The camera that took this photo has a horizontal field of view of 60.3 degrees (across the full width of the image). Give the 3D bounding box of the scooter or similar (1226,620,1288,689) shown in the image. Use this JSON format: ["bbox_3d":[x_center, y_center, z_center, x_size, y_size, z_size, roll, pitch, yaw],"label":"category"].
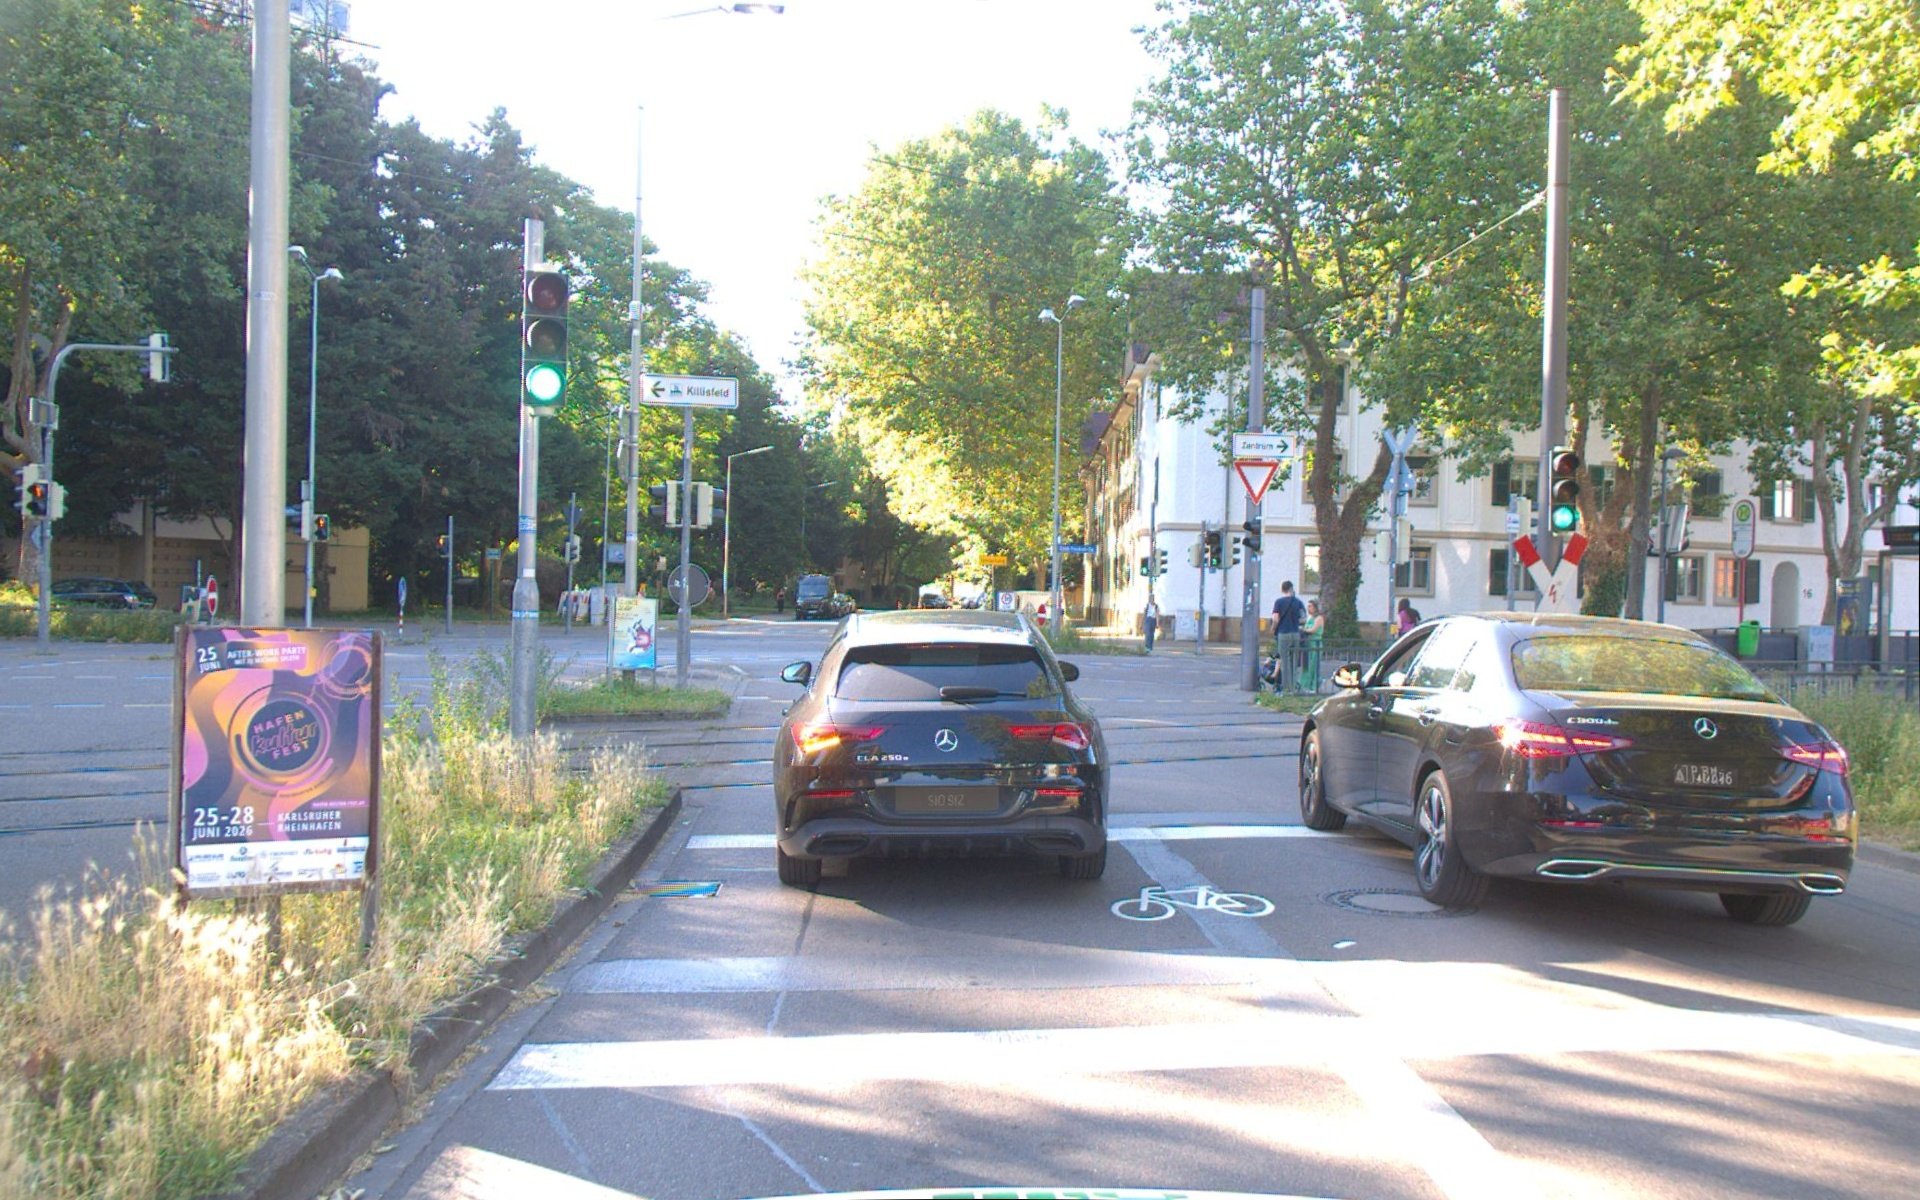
[{"bbox_3d":[5.022,0.910,28.012,0.812,1.124,0.808,2,-1,-6],"label":"scooter or similar"}]

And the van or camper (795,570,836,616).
[{"bbox_3d":[-8.448,-0.400,97.013,1.953,2.586,4.650,2,0,0],"label":"van or camper"}]

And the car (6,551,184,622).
[{"bbox_3d":[-24.170,-0.364,46.295,3.902,1.805,2.001,2,-1,7],"label":"car"}]

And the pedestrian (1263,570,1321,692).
[{"bbox_3d":[5.458,0.506,27.212,0.692,1.951,0.683,2,-1,-9],"label":"pedestrian"}]

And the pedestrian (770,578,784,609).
[{"bbox_3d":[-11.556,-0.425,104.590,0.690,1.951,0.839,2,-1,5],"label":"pedestrian"}]

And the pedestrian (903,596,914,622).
[{"bbox_3d":[-3.958,0.708,127.339,0.692,1.951,0.837,2,-1,-11],"label":"pedestrian"}]

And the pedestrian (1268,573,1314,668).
[{"bbox_3d":[6.991,0.431,34.948,0.691,1.951,0.838,2,-1,-7],"label":"pedestrian"}]

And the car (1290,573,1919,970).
[{"bbox_3d":[3.228,0.686,9.114,1.851,1.516,4.381,2,2,-1],"label":"car"}]

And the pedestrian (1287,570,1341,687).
[{"bbox_3d":[6.014,0.480,28.148,0.669,1.951,0.706,2,-1,-5],"label":"pedestrian"}]

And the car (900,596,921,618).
[{"bbox_3d":[-4.279,0.632,142.482,1.698,1.796,4.018,2,0,-1],"label":"car"}]

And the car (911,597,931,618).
[{"bbox_3d":[-3.492,0.635,147.704,1.698,1.796,4.018,2,0,-1],"label":"car"}]

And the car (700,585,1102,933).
[{"bbox_3d":[-0.254,0.736,9.829,1.851,1.475,4.001,2,2,1],"label":"car"}]

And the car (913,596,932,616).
[{"bbox_3d":[-3.518,0.546,155.787,1.698,1.796,4.018,2,0,-1],"label":"car"}]

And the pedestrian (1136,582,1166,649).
[{"bbox_3d":[5.643,0.451,48.824,0.691,1.951,0.838,2,-1,-4],"label":"pedestrian"}]
